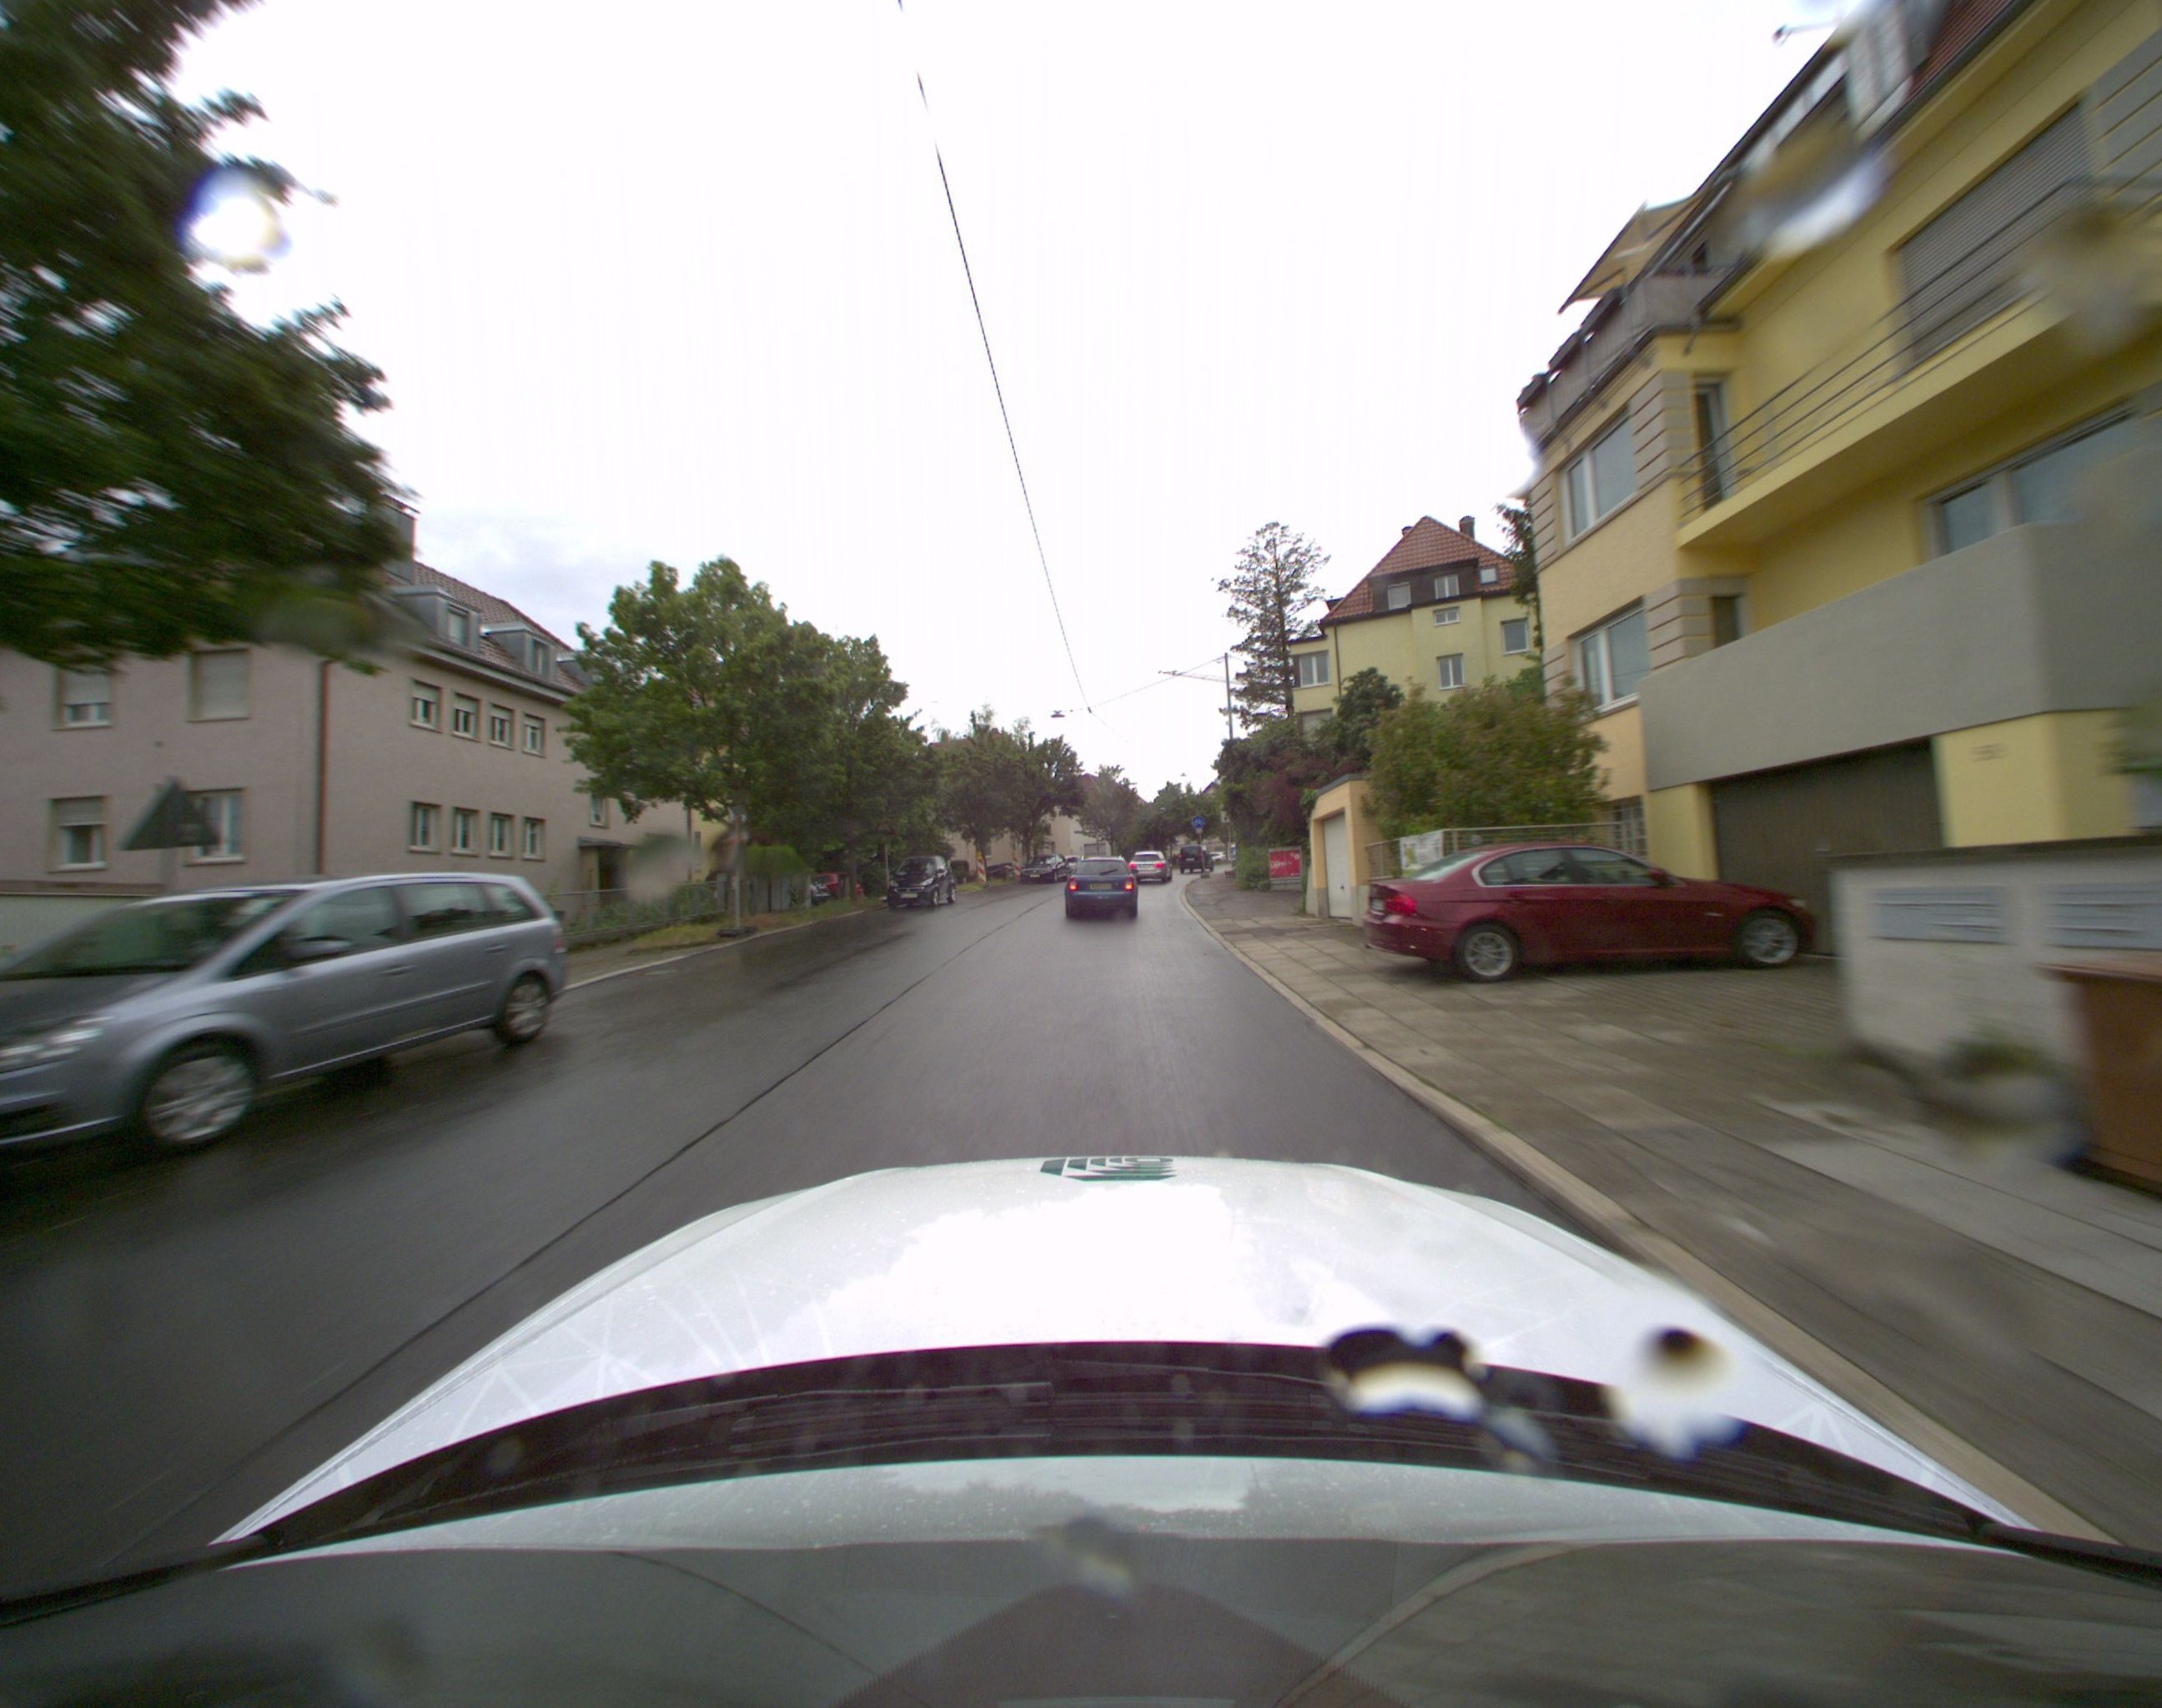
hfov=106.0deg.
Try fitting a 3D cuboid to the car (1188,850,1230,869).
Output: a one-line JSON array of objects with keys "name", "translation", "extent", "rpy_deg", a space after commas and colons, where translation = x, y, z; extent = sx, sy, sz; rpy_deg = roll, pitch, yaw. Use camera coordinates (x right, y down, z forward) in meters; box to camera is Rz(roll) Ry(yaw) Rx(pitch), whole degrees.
[{"name": "car", "translation": [14.660, 0.646, 92.969], "extent": [4.157, 1.604, 1.962], "rpy_deg": [-8, -4, 27]}]

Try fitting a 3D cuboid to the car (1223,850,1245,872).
[{"name": "car", "translation": [12.358, 0.563, 65.887], "extent": [1.709, 1.660, 3.724], "rpy_deg": [0, -1, 10]}]

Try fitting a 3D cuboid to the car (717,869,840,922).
[{"name": "car", "translation": [-11.702, 1.598, 31.591], "extent": [3.895, 1.360, 1.833], "rpy_deg": [-10, -2, 9]}]

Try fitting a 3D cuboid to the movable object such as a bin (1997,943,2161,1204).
[{"name": "movable object such as a bin", "translation": [4.282, 0.844, 3.287], "extent": [0.567, 0.900, 0.526], "rpy_deg": [-1, 0, -2]}]

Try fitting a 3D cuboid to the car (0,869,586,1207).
[{"name": "car", "translation": [-5.885, 0.971, 5.995], "extent": [1.711, 1.545, 4.294], "rpy_deg": [-4, -1, 0]}]

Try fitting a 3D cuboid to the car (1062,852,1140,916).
[{"name": "car", "translation": [0.561, 0.682, 20.562], "extent": [1.770, 1.439, 4.003], "rpy_deg": [0, 1, 3]}]

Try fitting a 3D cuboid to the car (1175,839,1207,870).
[{"name": "car", "translation": [7.430, 0.012, 54.686], "extent": [1.718, 1.894, 4.070], "rpy_deg": [-2, 0, 13]}]

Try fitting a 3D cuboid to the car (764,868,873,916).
[{"name": "car", "translation": [-11.187, 1.619, 34.790], "extent": [3.895, 1.394, 1.783], "rpy_deg": [-10, -2, 9]}]

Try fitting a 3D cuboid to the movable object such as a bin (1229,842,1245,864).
[{"name": "movable object such as a bin", "translation": [18.643, -0.069, 97.262], "extent": [1.300, 2.505, 1.395], "rpy_deg": [-5, -1, 29]}]

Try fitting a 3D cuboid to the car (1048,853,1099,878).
[{"name": "car", "translation": [-0.360, 0.648, 48.427], "extent": [1.693, 1.382, 4.550], "rpy_deg": [-2, 0, 17]}]

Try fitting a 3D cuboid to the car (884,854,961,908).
[{"name": "car", "translation": [-4.878, 0.792, 25.428], "extent": [1.511, 1.535, 3.040], "rpy_deg": [-2, 0, 5]}]

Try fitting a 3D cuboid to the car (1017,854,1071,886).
[{"name": "car", "translation": [-1.859, 0.797, 42.489], "extent": [1.721, 1.484, 4.545], "rpy_deg": [-2, 0, 12]}]

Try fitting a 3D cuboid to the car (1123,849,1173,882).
[{"name": "car", "translation": [3.204, 0.520, 38.382], "extent": [1.897, 1.388, 4.362], "rpy_deg": [-3, 0, 10]}]

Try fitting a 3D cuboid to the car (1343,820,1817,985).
[{"name": "car", "translation": [5.339, 0.495, 9.225], "extent": [4.151, 1.406, 1.836], "rpy_deg": [-4, 0, 4]}]

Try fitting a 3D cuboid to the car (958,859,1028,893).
[{"name": "car", "translation": [-5.990, 1.496, 55.574], "extent": [4.200, 1.504, 1.925], "rpy_deg": [-12, -5, 26]}]
